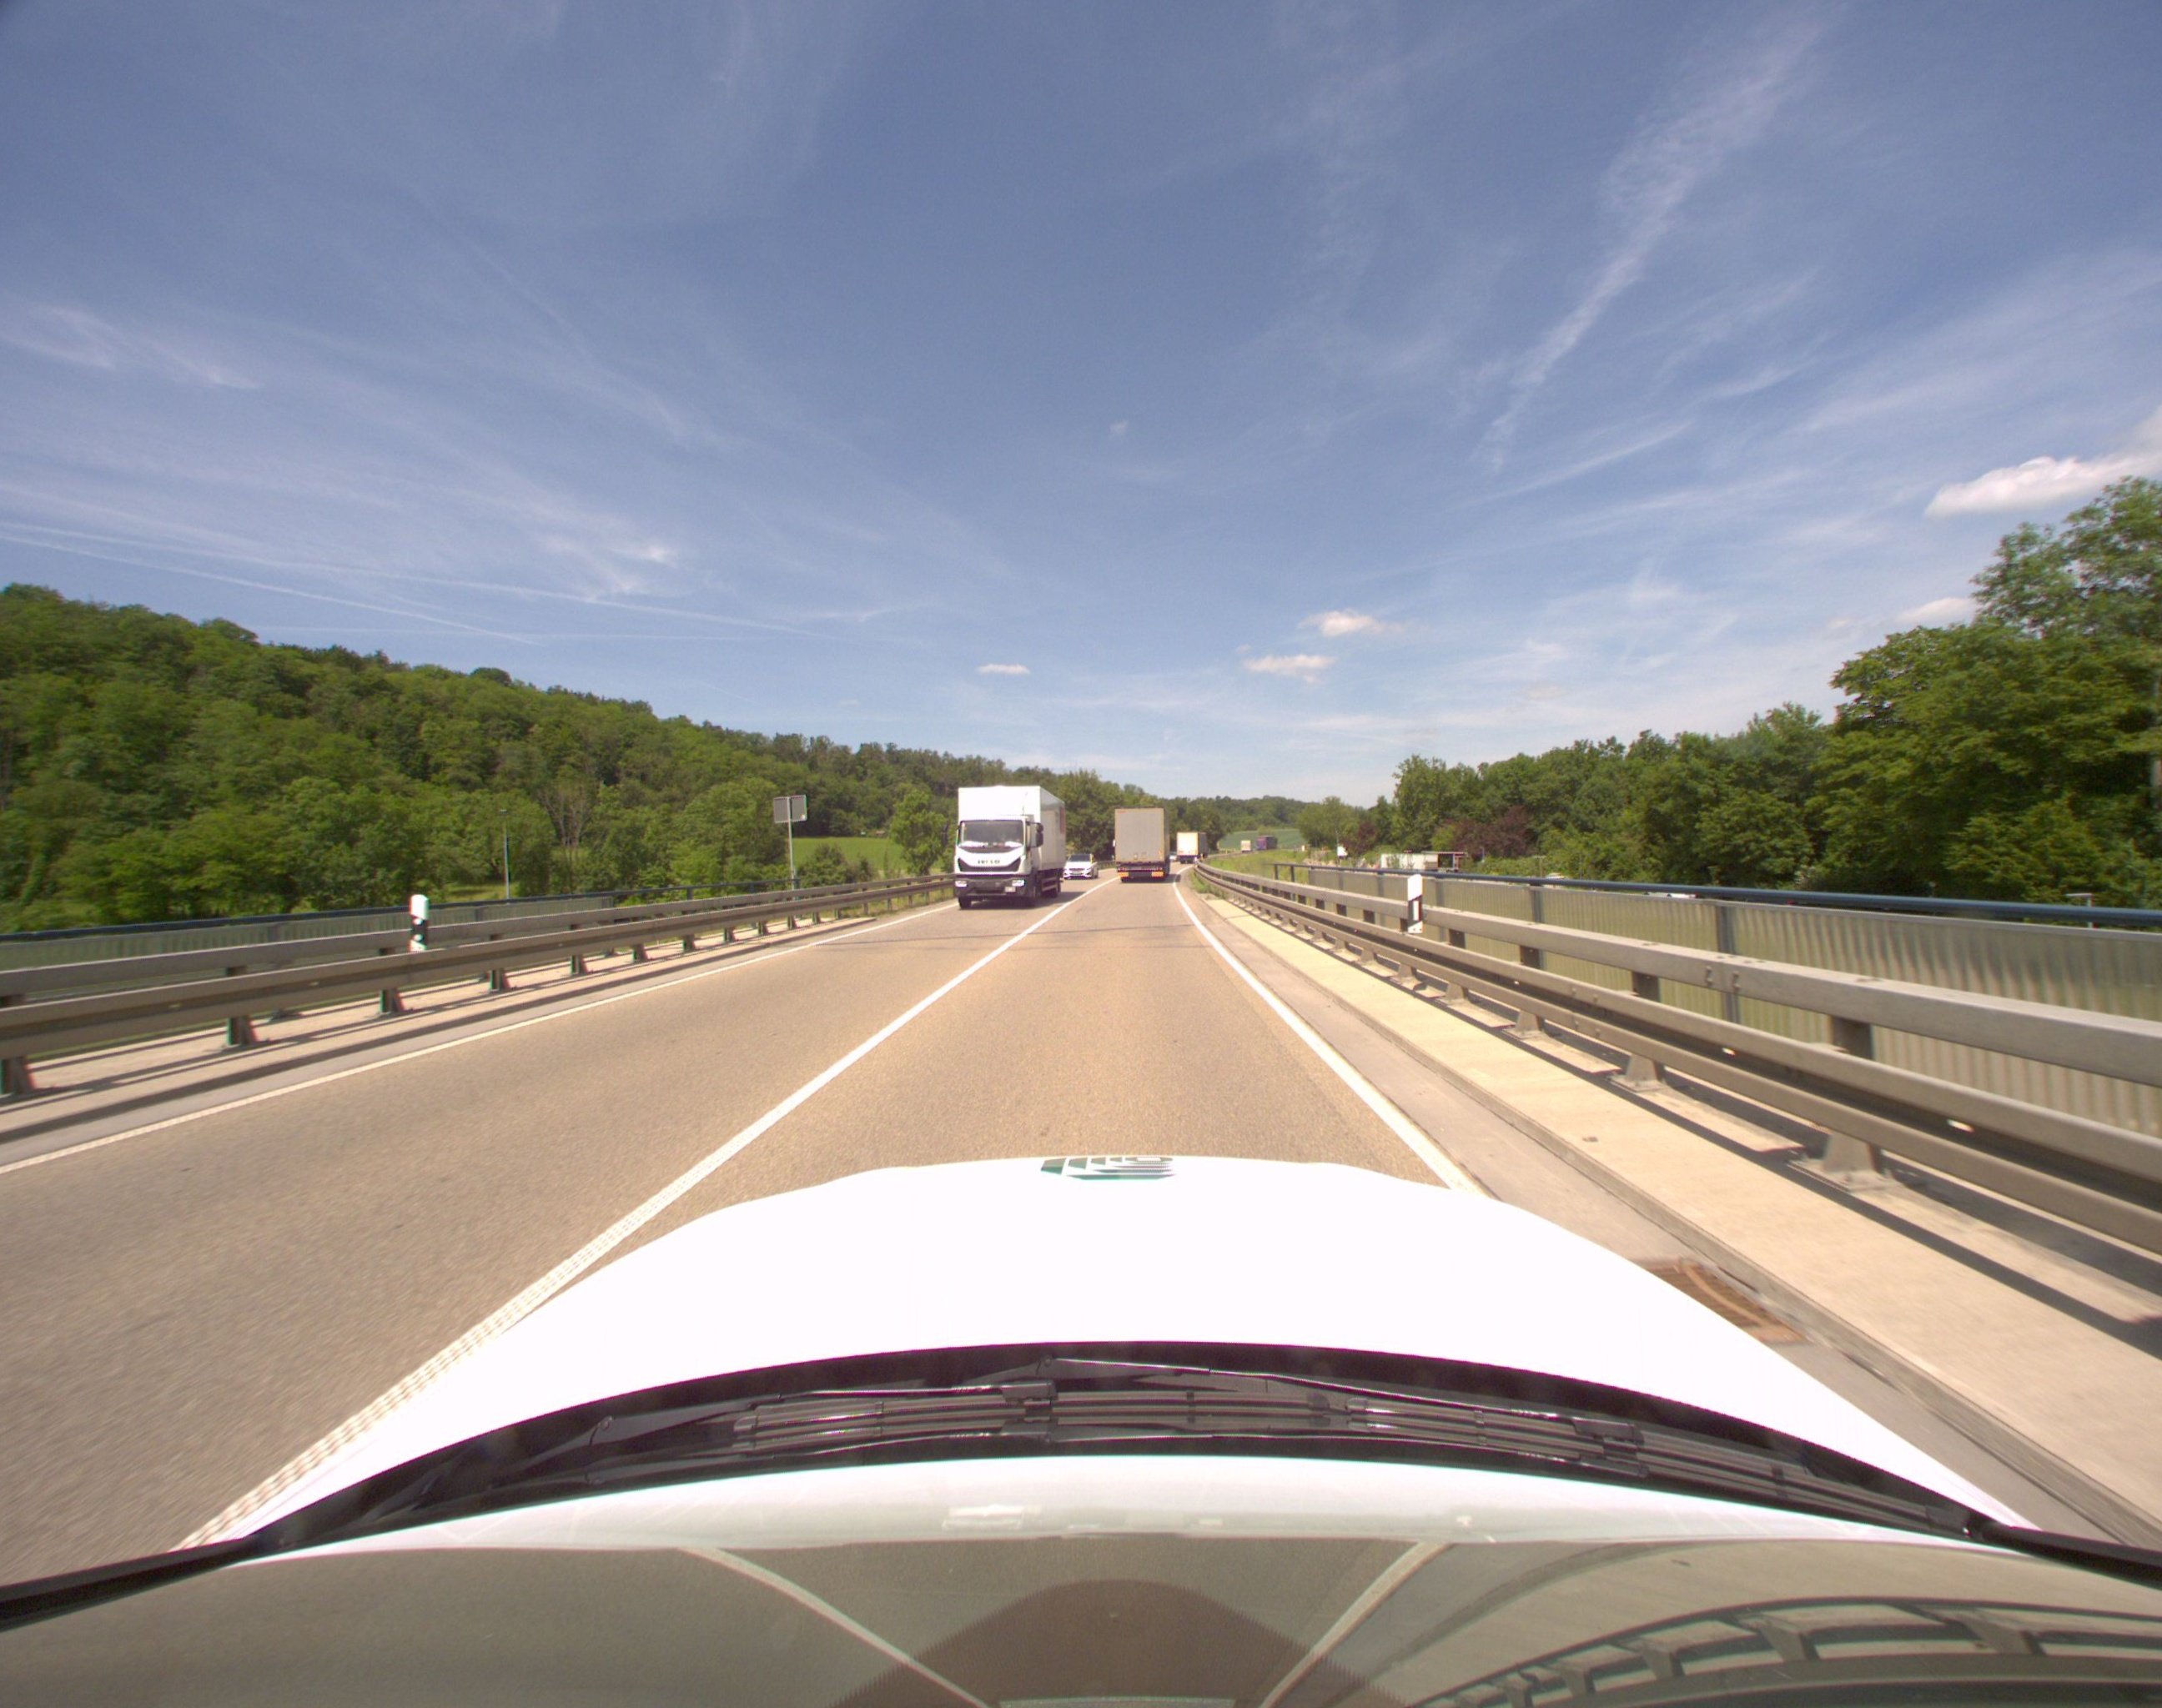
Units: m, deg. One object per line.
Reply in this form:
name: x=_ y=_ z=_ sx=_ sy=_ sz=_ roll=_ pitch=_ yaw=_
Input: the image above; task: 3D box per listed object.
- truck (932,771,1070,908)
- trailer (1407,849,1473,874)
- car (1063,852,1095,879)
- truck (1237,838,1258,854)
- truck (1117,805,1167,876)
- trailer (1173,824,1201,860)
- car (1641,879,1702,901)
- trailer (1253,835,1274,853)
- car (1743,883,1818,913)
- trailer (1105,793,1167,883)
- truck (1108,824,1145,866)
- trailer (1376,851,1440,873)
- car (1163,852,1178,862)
truck: x=-2.324 y=-0.400 z=27.722 sx=2.901 sy=3.803 sz=9.721 roll=-1 pitch=0 yaw=5
trailer: x=56.003 y=1.100 z=127.575 sx=2.723 sy=3.606 sz=11.833 roll=0 pitch=0 yaw=-15
car: x=-0.070 y=0.668 z=50.589 sx=1.750 sy=1.511 sz=4.004 roll=-1 pitch=1 yaw=3
truck: x=38.254 y=-1.775 z=186.837 sx=3.197 sy=3.365 sz=11.929 roll=-1 pitch=-1 yaw=18
truck: x=4.186 y=-0.906 z=55.276 sx=3.103 sy=4.494 sz=6.821 roll=-1 pitch=0 yaw=5
trailer: x=14.028 y=-1.417 z=107.300 sx=3.346 sy=4.317 sz=13.895 roll=-1 pitch=0 yaw=8
car: x=49.738 y=3.014 z=68.671 sx=1.850 sy=1.482 sz=4.610 roll=-5 pitch=0 yaw=2
trailer: x=46.690 y=-2.455 z=208.350 sx=3.617 sy=4.263 sz=12.256 roll=-1 pitch=-1 yaw=20
car: x=49.186 y=3.066 z=57.380 sx=1.849 sy=1.682 sz=4.205 roll=-5 pitch=1 yaw=4
trailer: x=3.510 y=-0.872 z=48.354 sx=3.103 sy=4.499 sz=13.909 roll=-1 pitch=0 yaw=6
truck: x=4.687 y=-0.831 z=81.976 sx=3.101 sy=3.958 sz=6.636 roll=-1 pitch=-1 yaw=8
trailer: x=52.071 y=1.244 z=130.211 sx=2.725 sy=3.327 sz=11.825 roll=-1 pitch=1 yaw=-17
car: x=13.052 y=0.429 z=118.669 sx=1.757 sy=1.494 sz=4.183 roll=-1 pitch=0 yaw=11
